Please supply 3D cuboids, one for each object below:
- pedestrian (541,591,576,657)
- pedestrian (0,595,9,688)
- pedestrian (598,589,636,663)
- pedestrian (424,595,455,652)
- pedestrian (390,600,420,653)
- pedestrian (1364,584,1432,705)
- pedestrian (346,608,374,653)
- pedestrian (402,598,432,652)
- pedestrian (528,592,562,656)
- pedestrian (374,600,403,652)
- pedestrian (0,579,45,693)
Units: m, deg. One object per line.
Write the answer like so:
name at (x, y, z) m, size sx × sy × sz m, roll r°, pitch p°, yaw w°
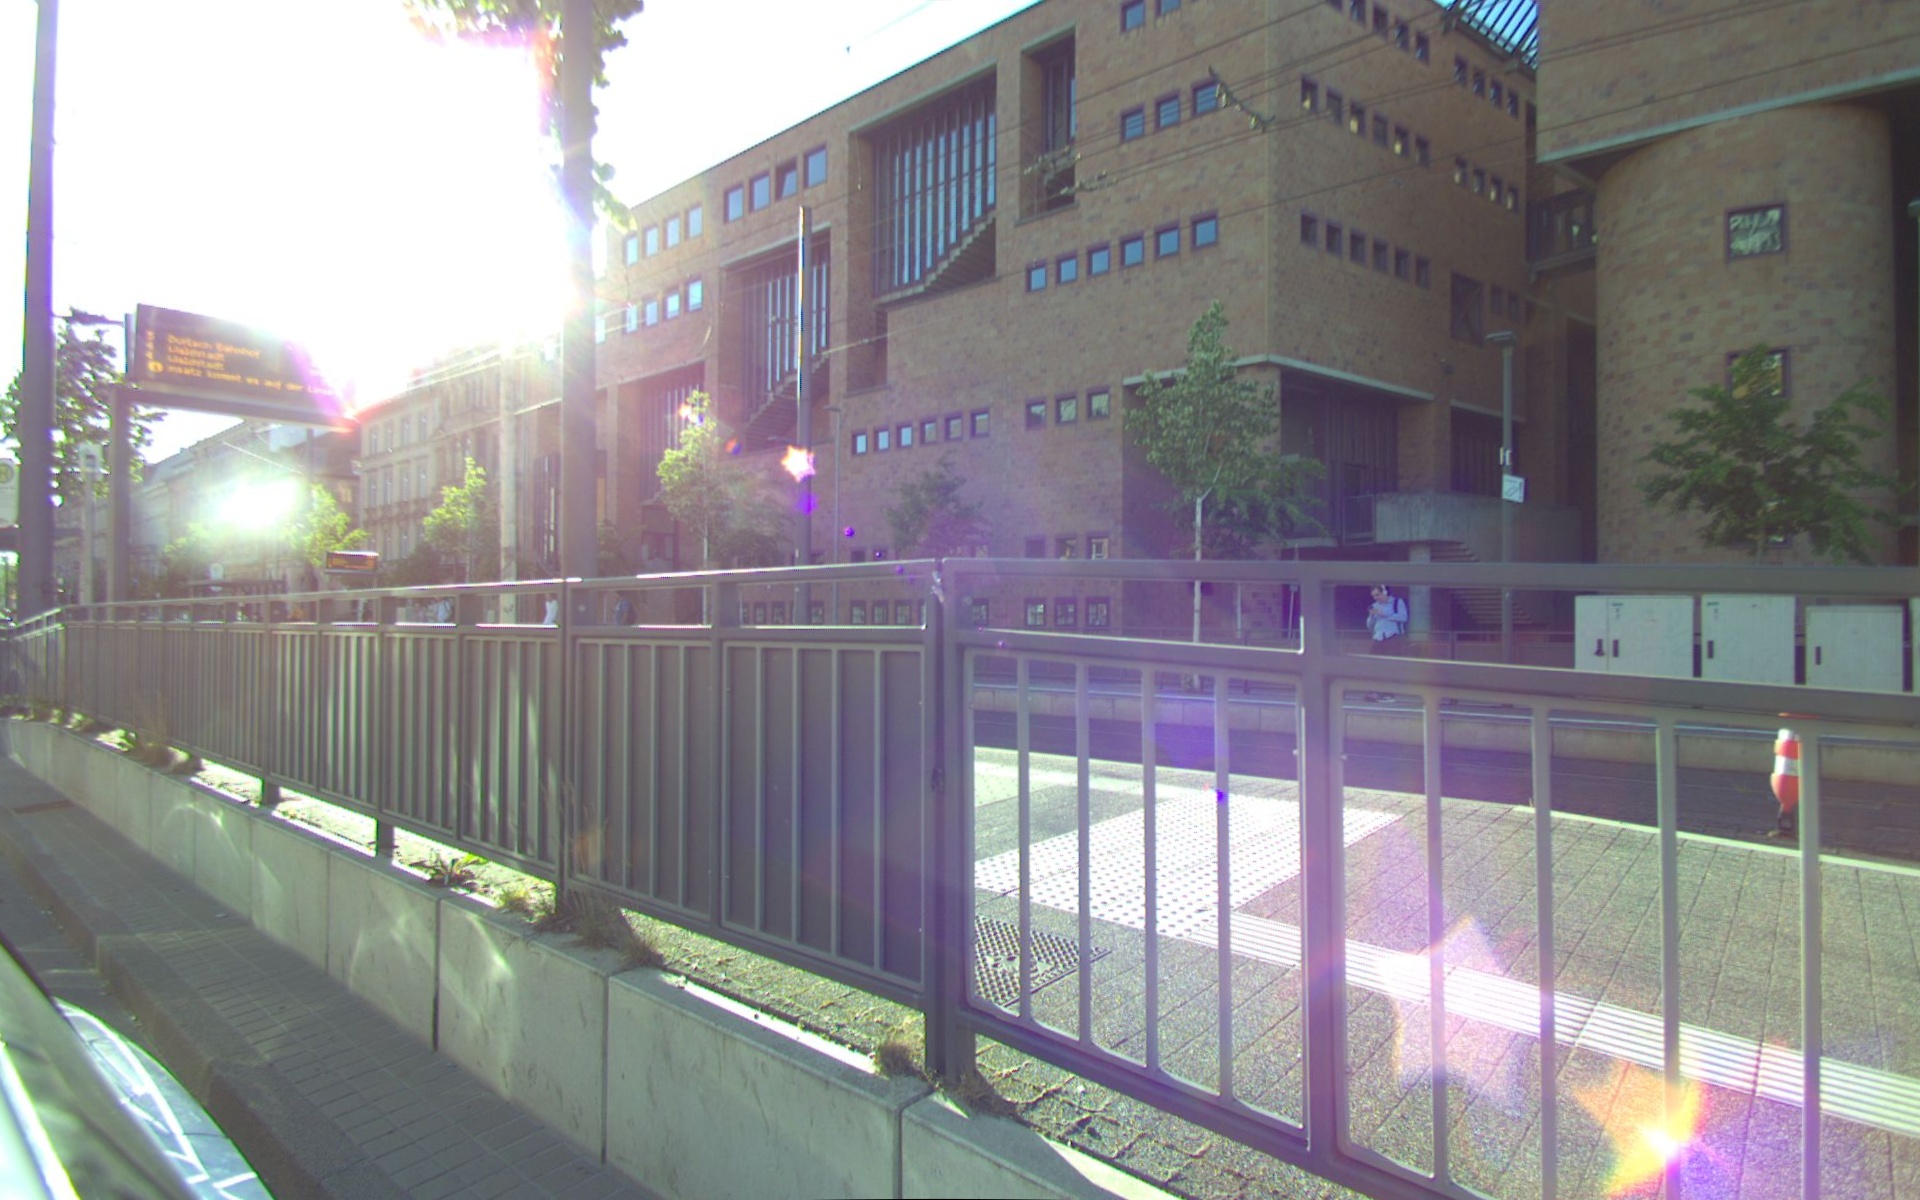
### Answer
pedestrian at (-10.893, 0.655, 27.439) m, size 0.586 × 1.755 × 0.684 m, roll -2°, pitch -2°, yaw 38°
pedestrian at (-21.608, 0.919, 22.319) m, size 0.879 × 2.029 × 0.774 m, roll -2°, pitch -2°, yaw 39°
pedestrian at (-8.319, 0.622, 24.556) m, size 0.586 × 1.755 × 0.684 m, roll -2°, pitch -2°, yaw 38°
pedestrian at (-16.134, 0.724, 31.374) m, size 0.586 × 1.755 × 0.684 m, roll -2°, pitch -2°, yaw 38°
pedestrian at (-18.759, 0.884, 34.210) m, size 0.586 × 1.755 × 0.684 m, roll -2°, pitch -2°, yaw 38°
pedestrian at (5.801, 0.575, 13.390) m, size 0.653 × 1.546 × 0.693 m, roll -1°, pitch -2°, yaw 38°
pedestrian at (-21.773, 1.100, 36.726) m, size 0.586 × 1.587 × 0.684 m, roll -2°, pitch -2°, yaw 38°
pedestrian at (-17.840, 0.830, 33.256) m, size 0.586 × 1.755 × 0.684 m, roll -2°, pitch -2°, yaw 38°
pedestrian at (-11.431, 0.662, 27.884) m, size 0.586 × 1.755 × 0.684 m, roll -2°, pitch -2°, yaw 38°
pedestrian at (-19.801, 0.898, 35.058) m, size 0.586 × 1.755 × 0.684 m, roll -2°, pitch -2°, yaw 38°
pedestrian at (-17.254, 0.653, 18.456) m, size 0.772 × 2.029 × 0.882 m, roll 1°, pitch -2°, yaw -39°
